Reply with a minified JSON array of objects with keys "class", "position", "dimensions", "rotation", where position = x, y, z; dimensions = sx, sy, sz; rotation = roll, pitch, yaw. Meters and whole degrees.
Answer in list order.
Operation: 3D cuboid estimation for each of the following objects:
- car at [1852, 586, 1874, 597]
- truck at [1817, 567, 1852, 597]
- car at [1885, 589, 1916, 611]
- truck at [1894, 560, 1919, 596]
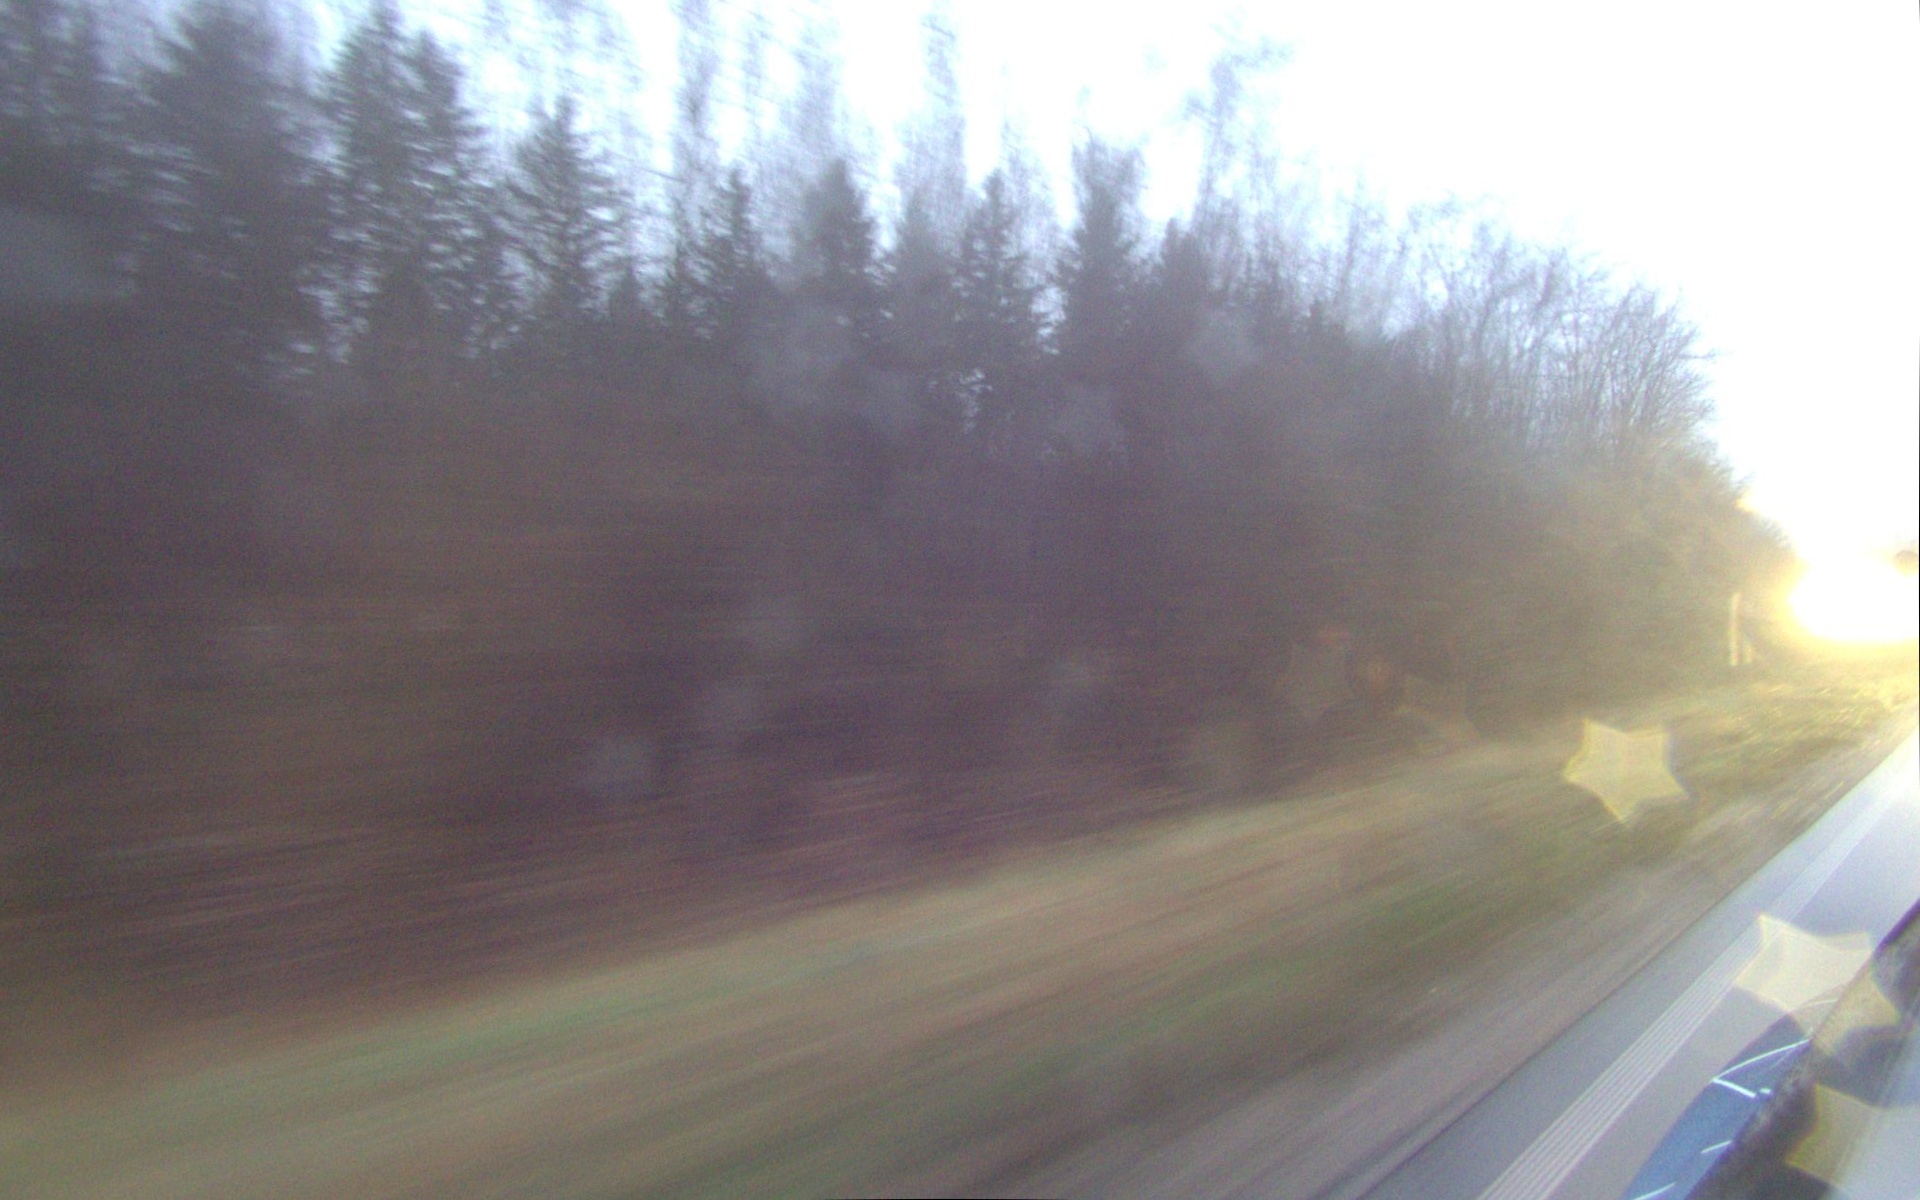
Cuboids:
[{"class":"car","position":[119.459,-1.174,133.924],"dimensions":[1.841,1.478,4.188],"rotation":[0,1,37]},{"class":"truck","position":[138.543,-2.871,160.424],"dimensions":[3.339,4.483,11.017],"rotation":[-3,-1,37]},{"class":"car","position":[77.645,-0.009,83.597],"dimensions":[1.695,1.753,3.942],"rotation":[-1,0,40]},{"class":"truck","position":[100.482,-2.334,106.538],"dimensions":[2.645,3.640,9.701],"rotation":[2,2,40]}]
